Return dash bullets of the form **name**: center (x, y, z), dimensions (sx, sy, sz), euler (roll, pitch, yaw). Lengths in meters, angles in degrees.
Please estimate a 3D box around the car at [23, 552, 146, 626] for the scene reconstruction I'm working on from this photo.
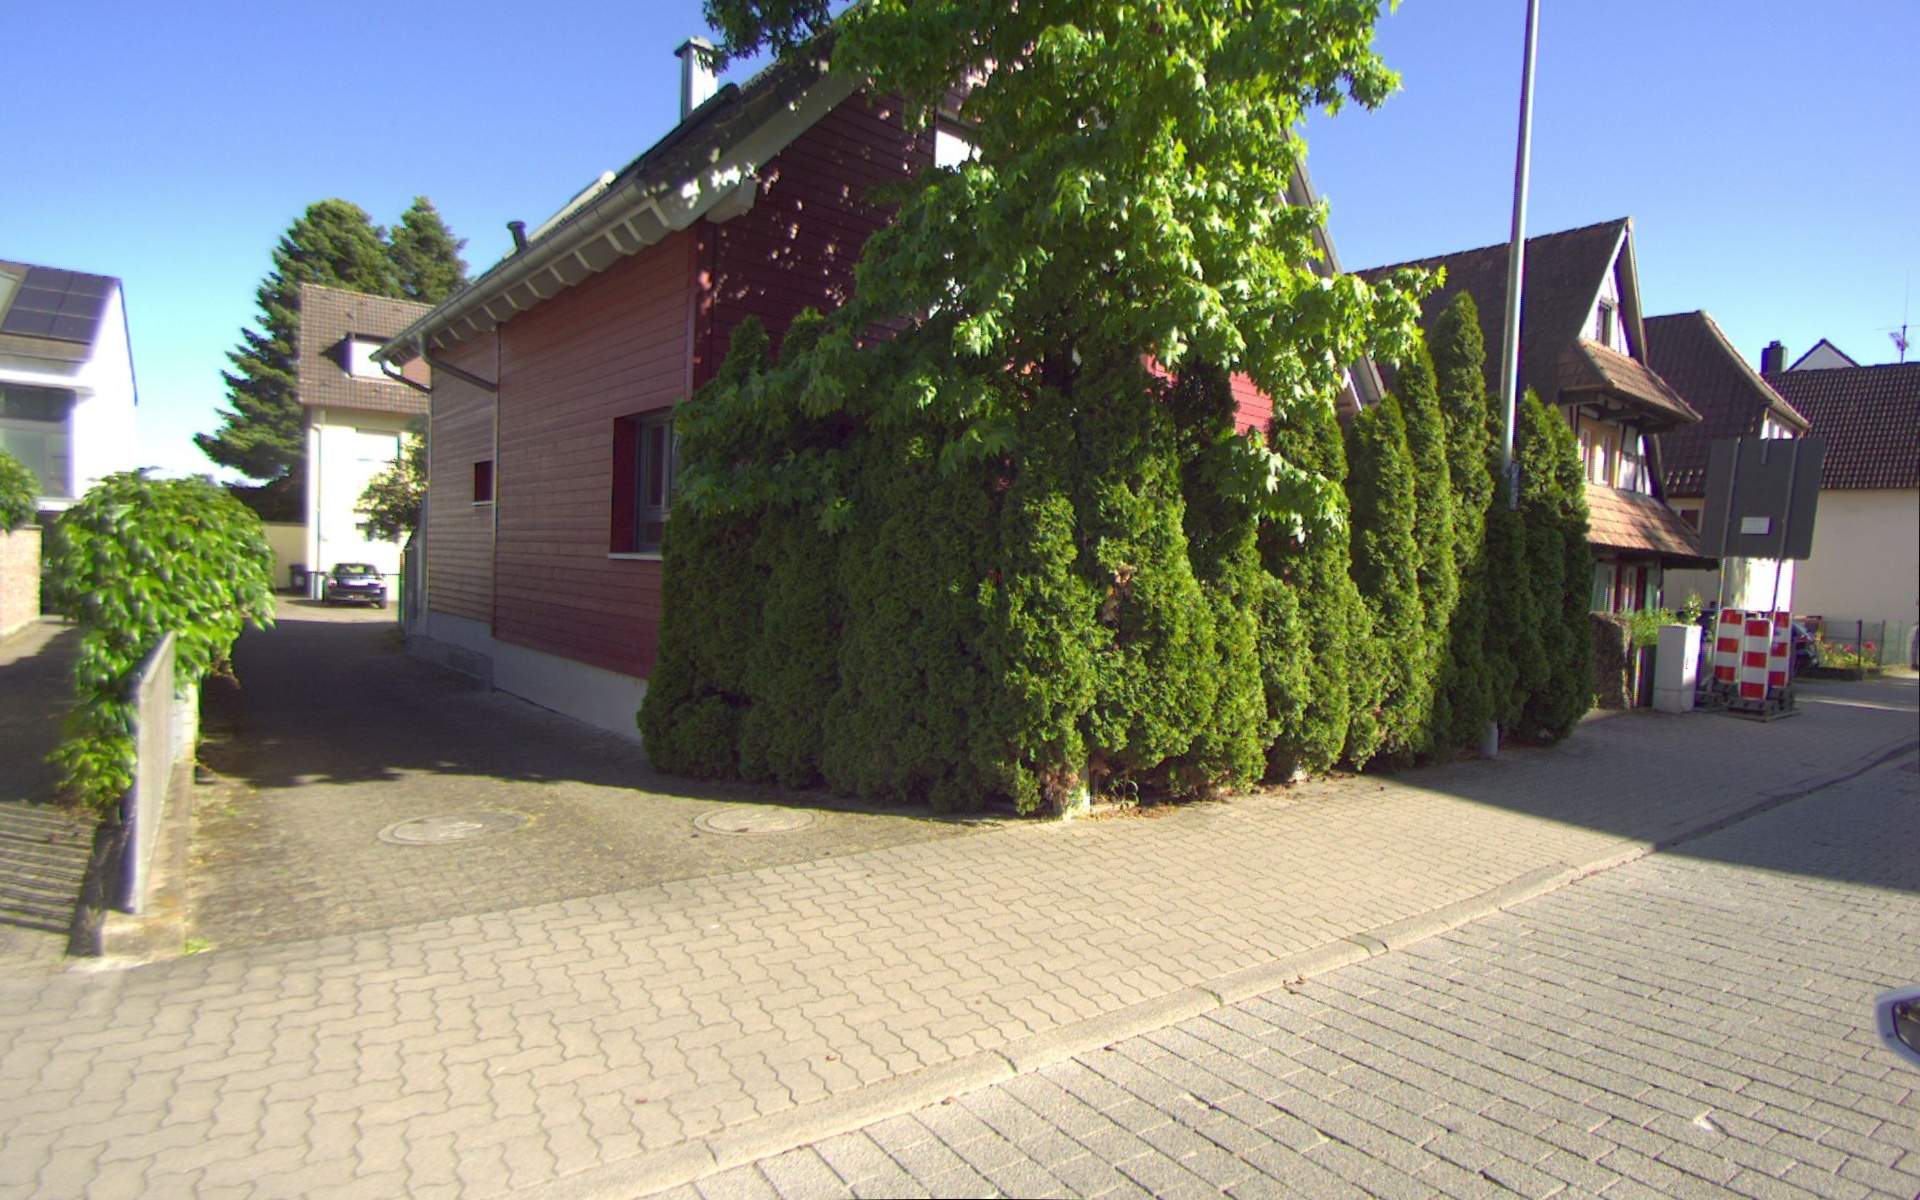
- **car**: center (-22.001, -0.348, 25.400), dimensions (1.783, 1.646, 3.962), euler (-1, 4, -33)

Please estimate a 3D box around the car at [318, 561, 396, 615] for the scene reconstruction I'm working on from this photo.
- **car**: center (-19.438, -0.407, 32.318), dimensions (1.912, 1.534, 3.788), euler (2, 2, -34)

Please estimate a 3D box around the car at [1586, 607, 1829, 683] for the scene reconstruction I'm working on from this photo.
- **car**: center (16.651, 0.920, 22.513), dimensions (1.835, 1.481, 4.119), euler (0, 1, -43)
